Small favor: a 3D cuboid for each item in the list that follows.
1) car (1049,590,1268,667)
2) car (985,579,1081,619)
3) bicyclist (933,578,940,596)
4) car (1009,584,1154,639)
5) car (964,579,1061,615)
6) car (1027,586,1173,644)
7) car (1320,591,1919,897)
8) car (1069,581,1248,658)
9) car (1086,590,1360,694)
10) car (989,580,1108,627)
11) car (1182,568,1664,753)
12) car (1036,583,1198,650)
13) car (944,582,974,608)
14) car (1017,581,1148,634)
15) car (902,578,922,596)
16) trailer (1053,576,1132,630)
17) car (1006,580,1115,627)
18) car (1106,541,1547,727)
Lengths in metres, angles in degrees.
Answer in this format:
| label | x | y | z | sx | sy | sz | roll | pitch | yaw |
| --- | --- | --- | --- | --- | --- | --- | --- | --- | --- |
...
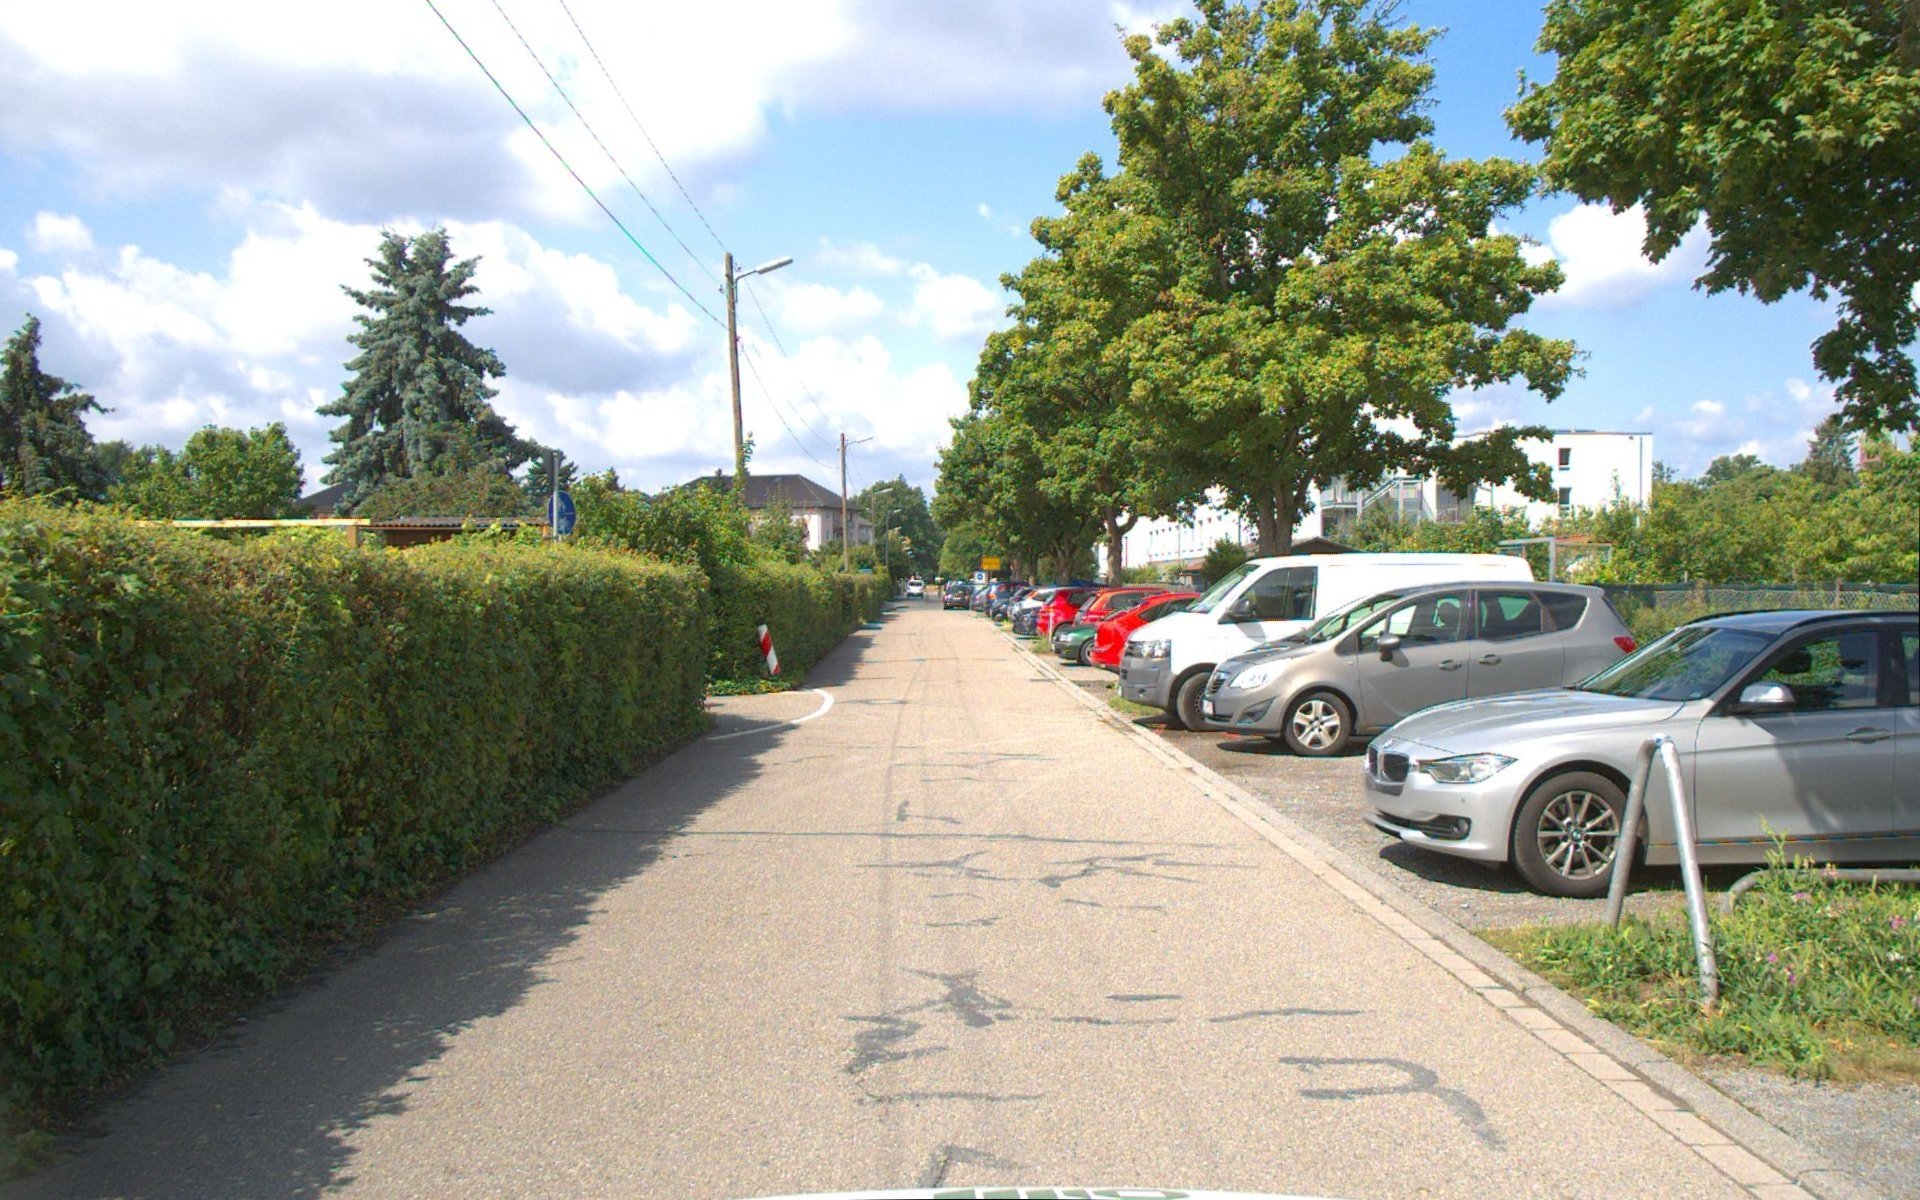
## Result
| label | x | y | z | sx | sy | sz | roll | pitch | yaw |
| --- | --- | --- | --- | --- | --- | --- | --- | --- | --- |
| car | 4.012 | 0.566 | 33.869 | 4.156 | 1.453 | 1.906 | 1 | 0 | -5 |
| car | 3.160 | -0.031 | 71.923 | 4.070 | 1.666 | 1.878 | -1 | 0 | -1 |
| bicyclist | -2.432 | -1.377 | 173.766 | 0.645 | 1.884 | 1.043 | -1 | 0 | 1 |
| car | 3.502 | 0.314 | 48.065 | 3.985 | 1.481 | 1.869 | 1 | 0 | -4 |
| car | 2.463 | -0.130 | 78.549 | 4.457 | 1.606 | 1.808 | 1 | 0 | -3 |
| car | 3.762 | 0.400 | 44.903 | 3.829 | 1.448 | 1.958 | 1 | 0 | 2 |
| car | 4.512 | 0.709 | 9.305 | 4.488 | 1.491 | 1.998 | 0 | 1 | -5 |
| car | 4.341 | 0.420 | 36.600 | 3.688 | 1.601 | 1.869 | 1 | 0 | -2 |
| car | 4.161 | 0.652 | 26.649 | 4.097 | 1.530 | 1.878 | 1 | 0 | 0 |
| car | 3.243 | 0.130 | 61.331 | 4.215 | 1.621 | 1.999 | 1 | 0 | -2 |
| car | 4.410 | 0.547 | 16.260 | 4.157 | 1.620 | 2.000 | -1 | 1 | -1 |
| car | 3.882 | 0.409 | 41.391 | 3.904 | 1.546 | 1.855 | 1 | 0 | 2 |
| car | -0.051 | -0.326 | 103.293 | 1.628 | 1.532 | 4.002 | 1 | 0 | 4 |
| car | 3.785 | 0.229 | 51.678 | 3.980 | 1.538 | 1.958 | 1 | 0 | 2 |
| car | -4.946 | -1.320 | 171.736 | 1.863 | 1.846 | 4.001 | 1 | 0 | 1 |
| trailer | 4.456 | 0.085 | 55.887 | 2.402 | 1.750 | 1.517 | 1 | 1 | -5 |
| car | 3.541 | 0.136 | 58.755 | 3.650 | 1.567 | 1.848 | 1 | 0 | -4 |
| car | 4.090 | 0.351 | 18.996 | 4.542 | 1.919 | 2.110 | -1 | 1 | -3 |
